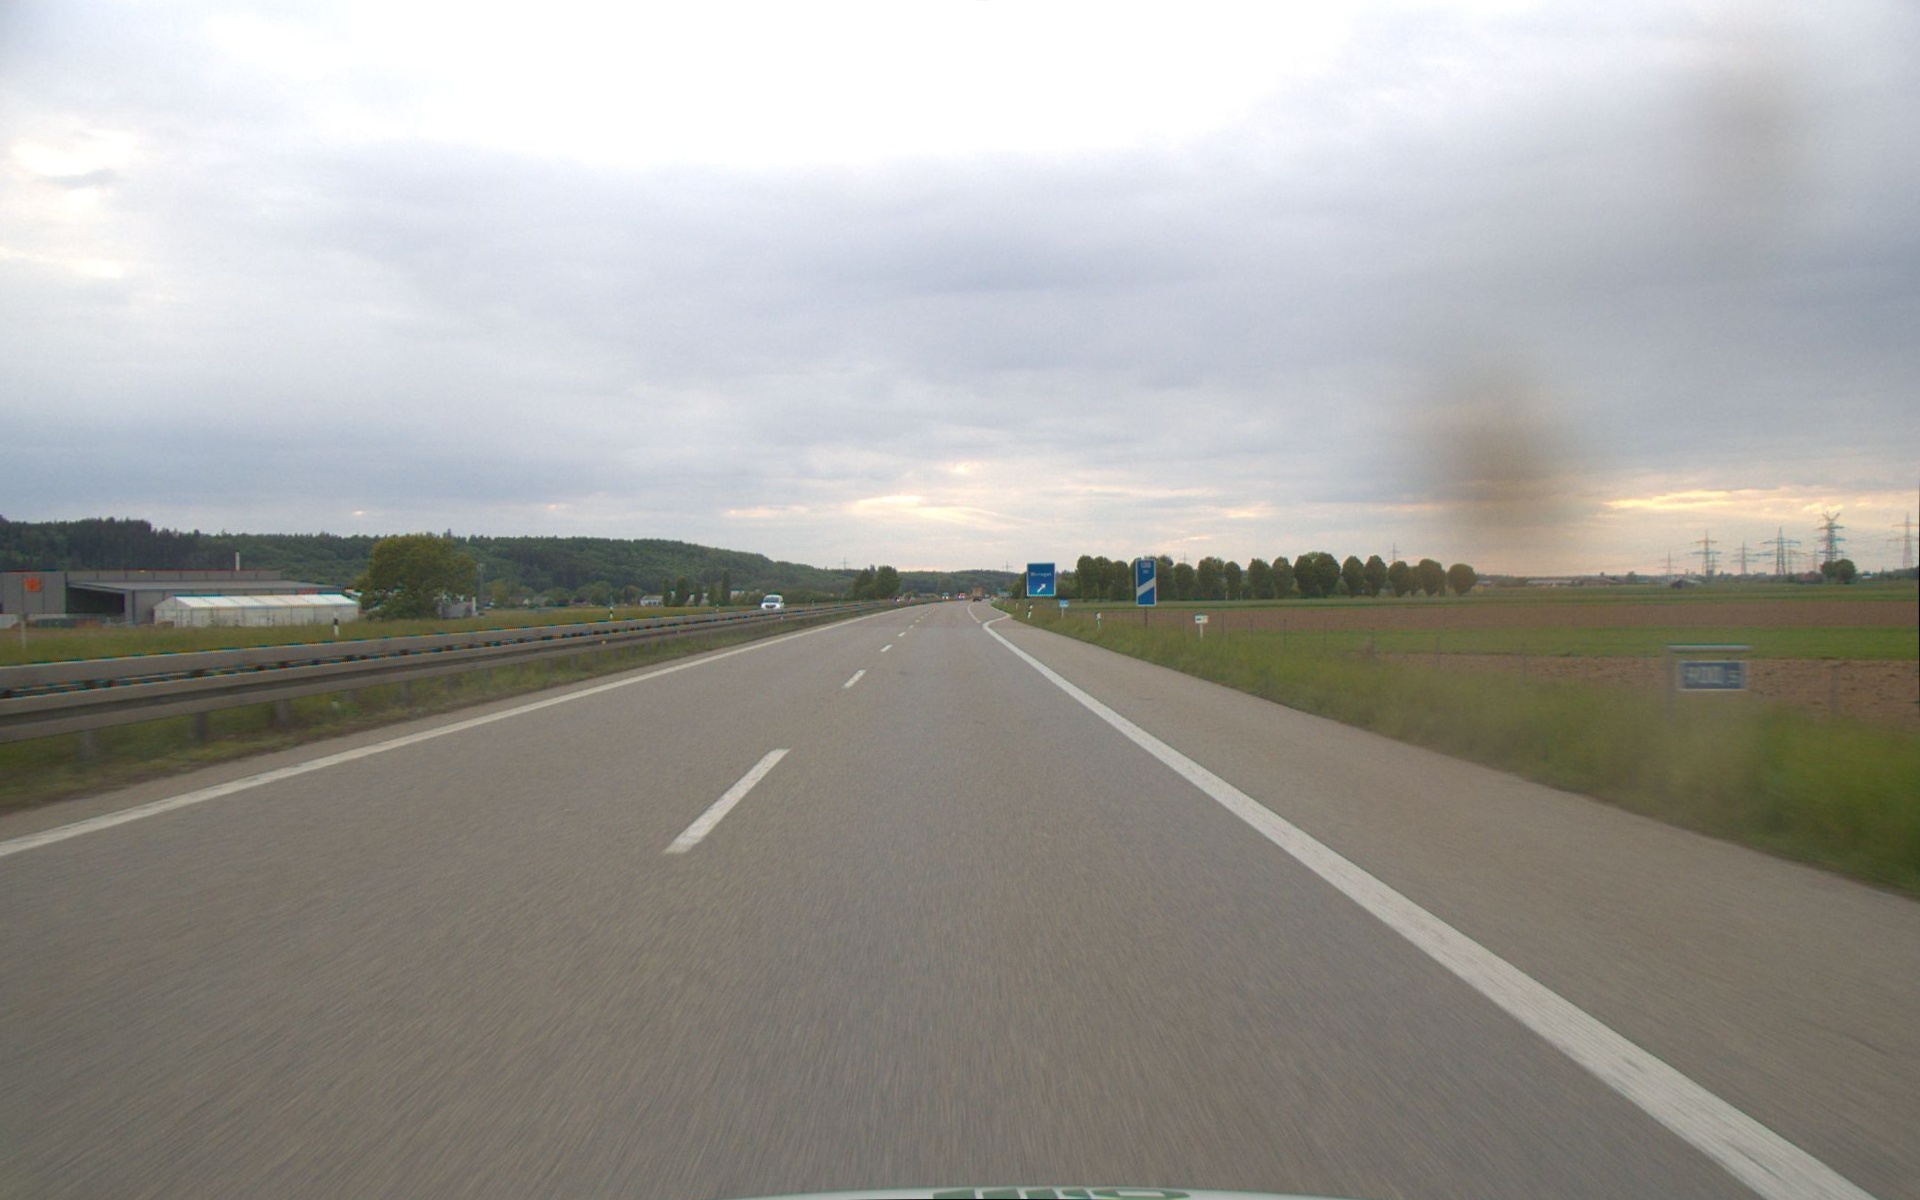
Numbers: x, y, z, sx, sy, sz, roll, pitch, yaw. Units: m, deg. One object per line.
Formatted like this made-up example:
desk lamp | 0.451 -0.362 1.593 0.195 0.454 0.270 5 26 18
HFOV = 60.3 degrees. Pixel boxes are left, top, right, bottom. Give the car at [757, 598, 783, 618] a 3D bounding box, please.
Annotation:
car | -17.978 0.753 156.854 1.953 1.796 4.950 1 0 -1
